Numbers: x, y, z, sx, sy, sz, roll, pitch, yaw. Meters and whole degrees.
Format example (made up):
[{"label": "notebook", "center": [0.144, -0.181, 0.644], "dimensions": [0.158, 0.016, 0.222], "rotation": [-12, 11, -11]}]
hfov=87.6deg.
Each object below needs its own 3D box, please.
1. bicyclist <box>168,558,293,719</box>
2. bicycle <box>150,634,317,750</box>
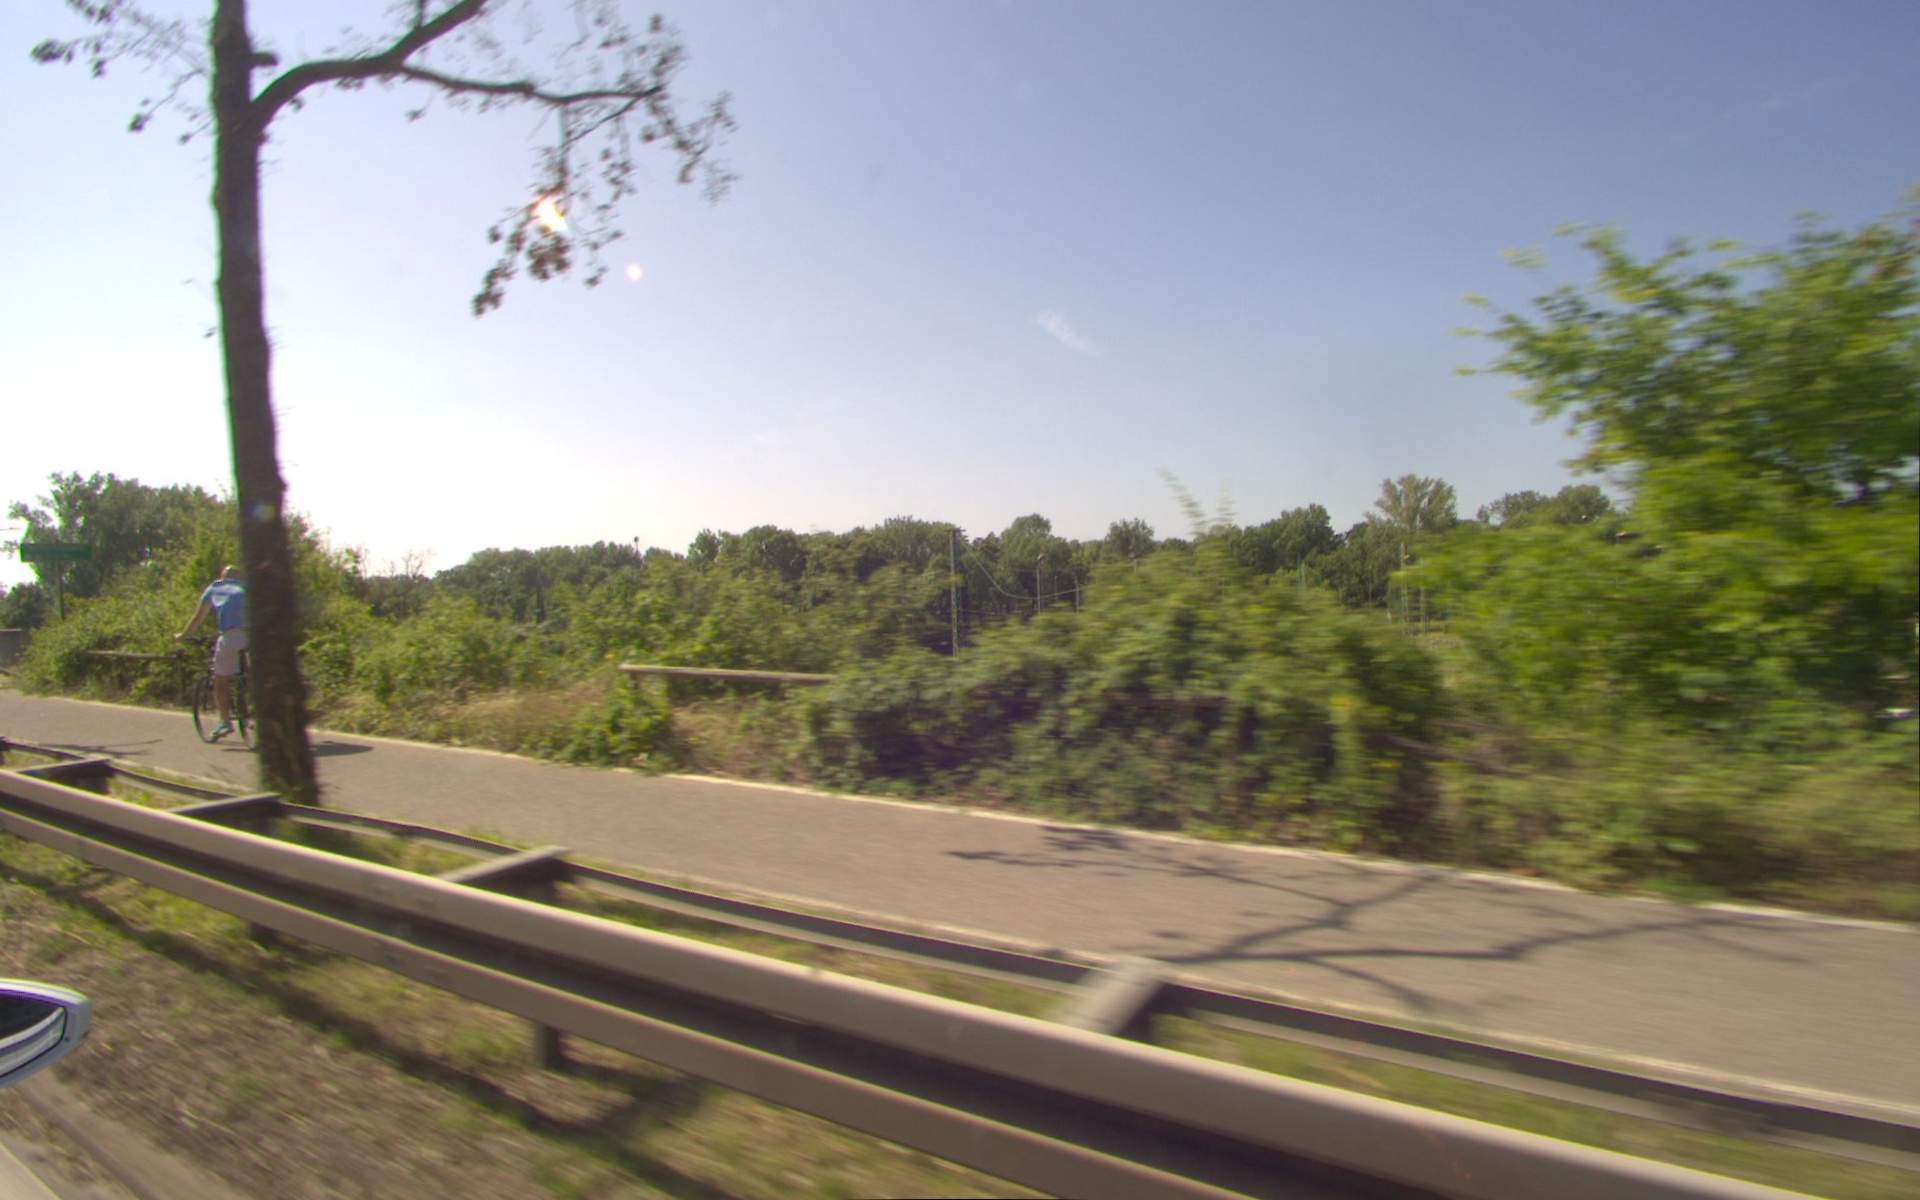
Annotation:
[{"label": "bicyclist", "center": [-7.329, 0.372, 10.068], "dimensions": [0.791, 1.541, 0.656], "rotation": [-2, 3, 31]}, {"label": "bicycle", "center": [-7.388, 0.900, 10.162], "dimensions": [1.820, 1.034, 0.700], "rotation": [-2, 3, 33]}]
